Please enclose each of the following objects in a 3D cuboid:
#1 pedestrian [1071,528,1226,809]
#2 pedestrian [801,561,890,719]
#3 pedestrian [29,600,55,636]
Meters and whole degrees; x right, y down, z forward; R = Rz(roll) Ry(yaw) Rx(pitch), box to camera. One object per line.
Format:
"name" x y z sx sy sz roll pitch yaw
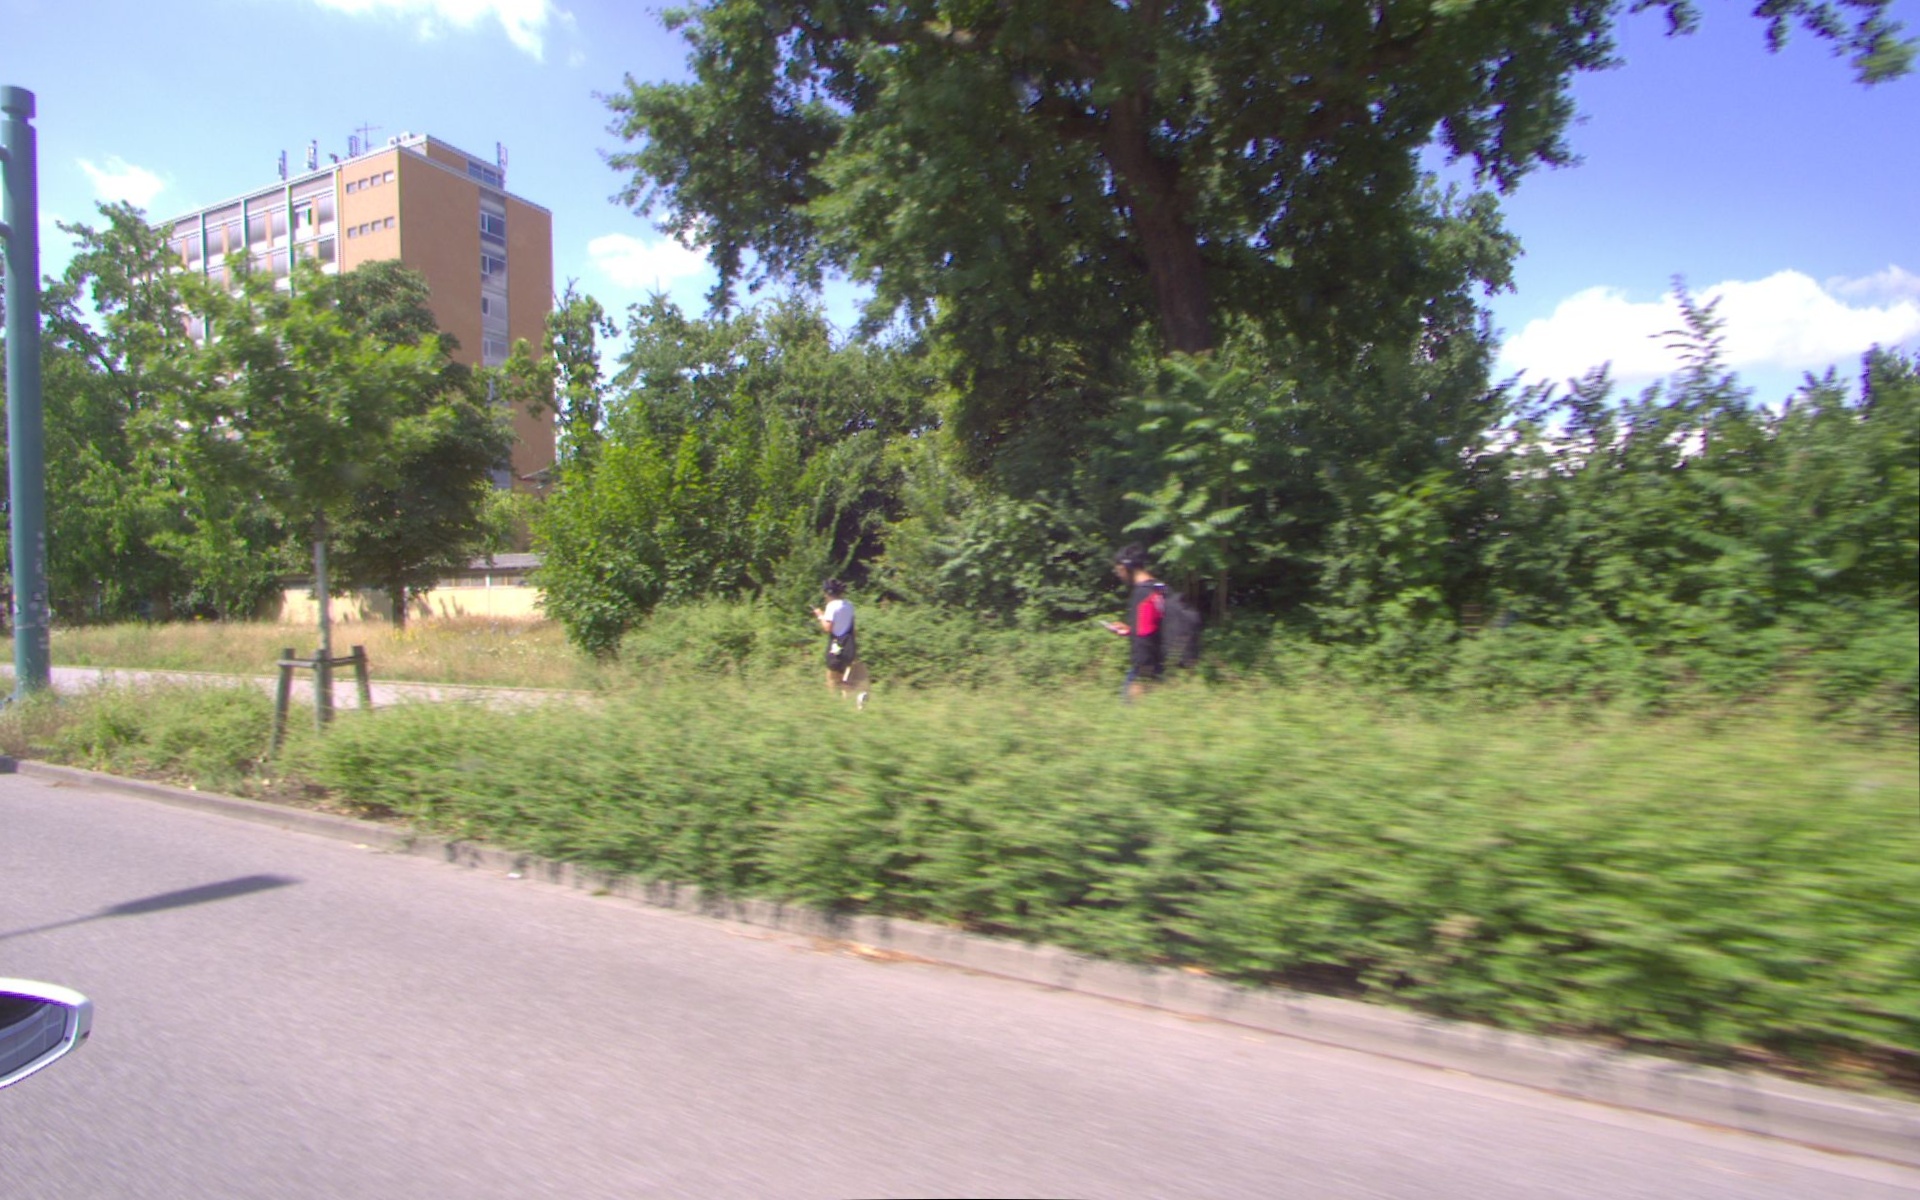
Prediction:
"pedestrian" 1.277 0.433 6.738 0.825 1.744 0.715 0 0 32
"pedestrian" -1.317 0.447 11.566 0.736 1.744 0.721 0 0 32
"pedestrian" -54.157 1.069 59.074 0.832 2.085 0.740 0 1 14
